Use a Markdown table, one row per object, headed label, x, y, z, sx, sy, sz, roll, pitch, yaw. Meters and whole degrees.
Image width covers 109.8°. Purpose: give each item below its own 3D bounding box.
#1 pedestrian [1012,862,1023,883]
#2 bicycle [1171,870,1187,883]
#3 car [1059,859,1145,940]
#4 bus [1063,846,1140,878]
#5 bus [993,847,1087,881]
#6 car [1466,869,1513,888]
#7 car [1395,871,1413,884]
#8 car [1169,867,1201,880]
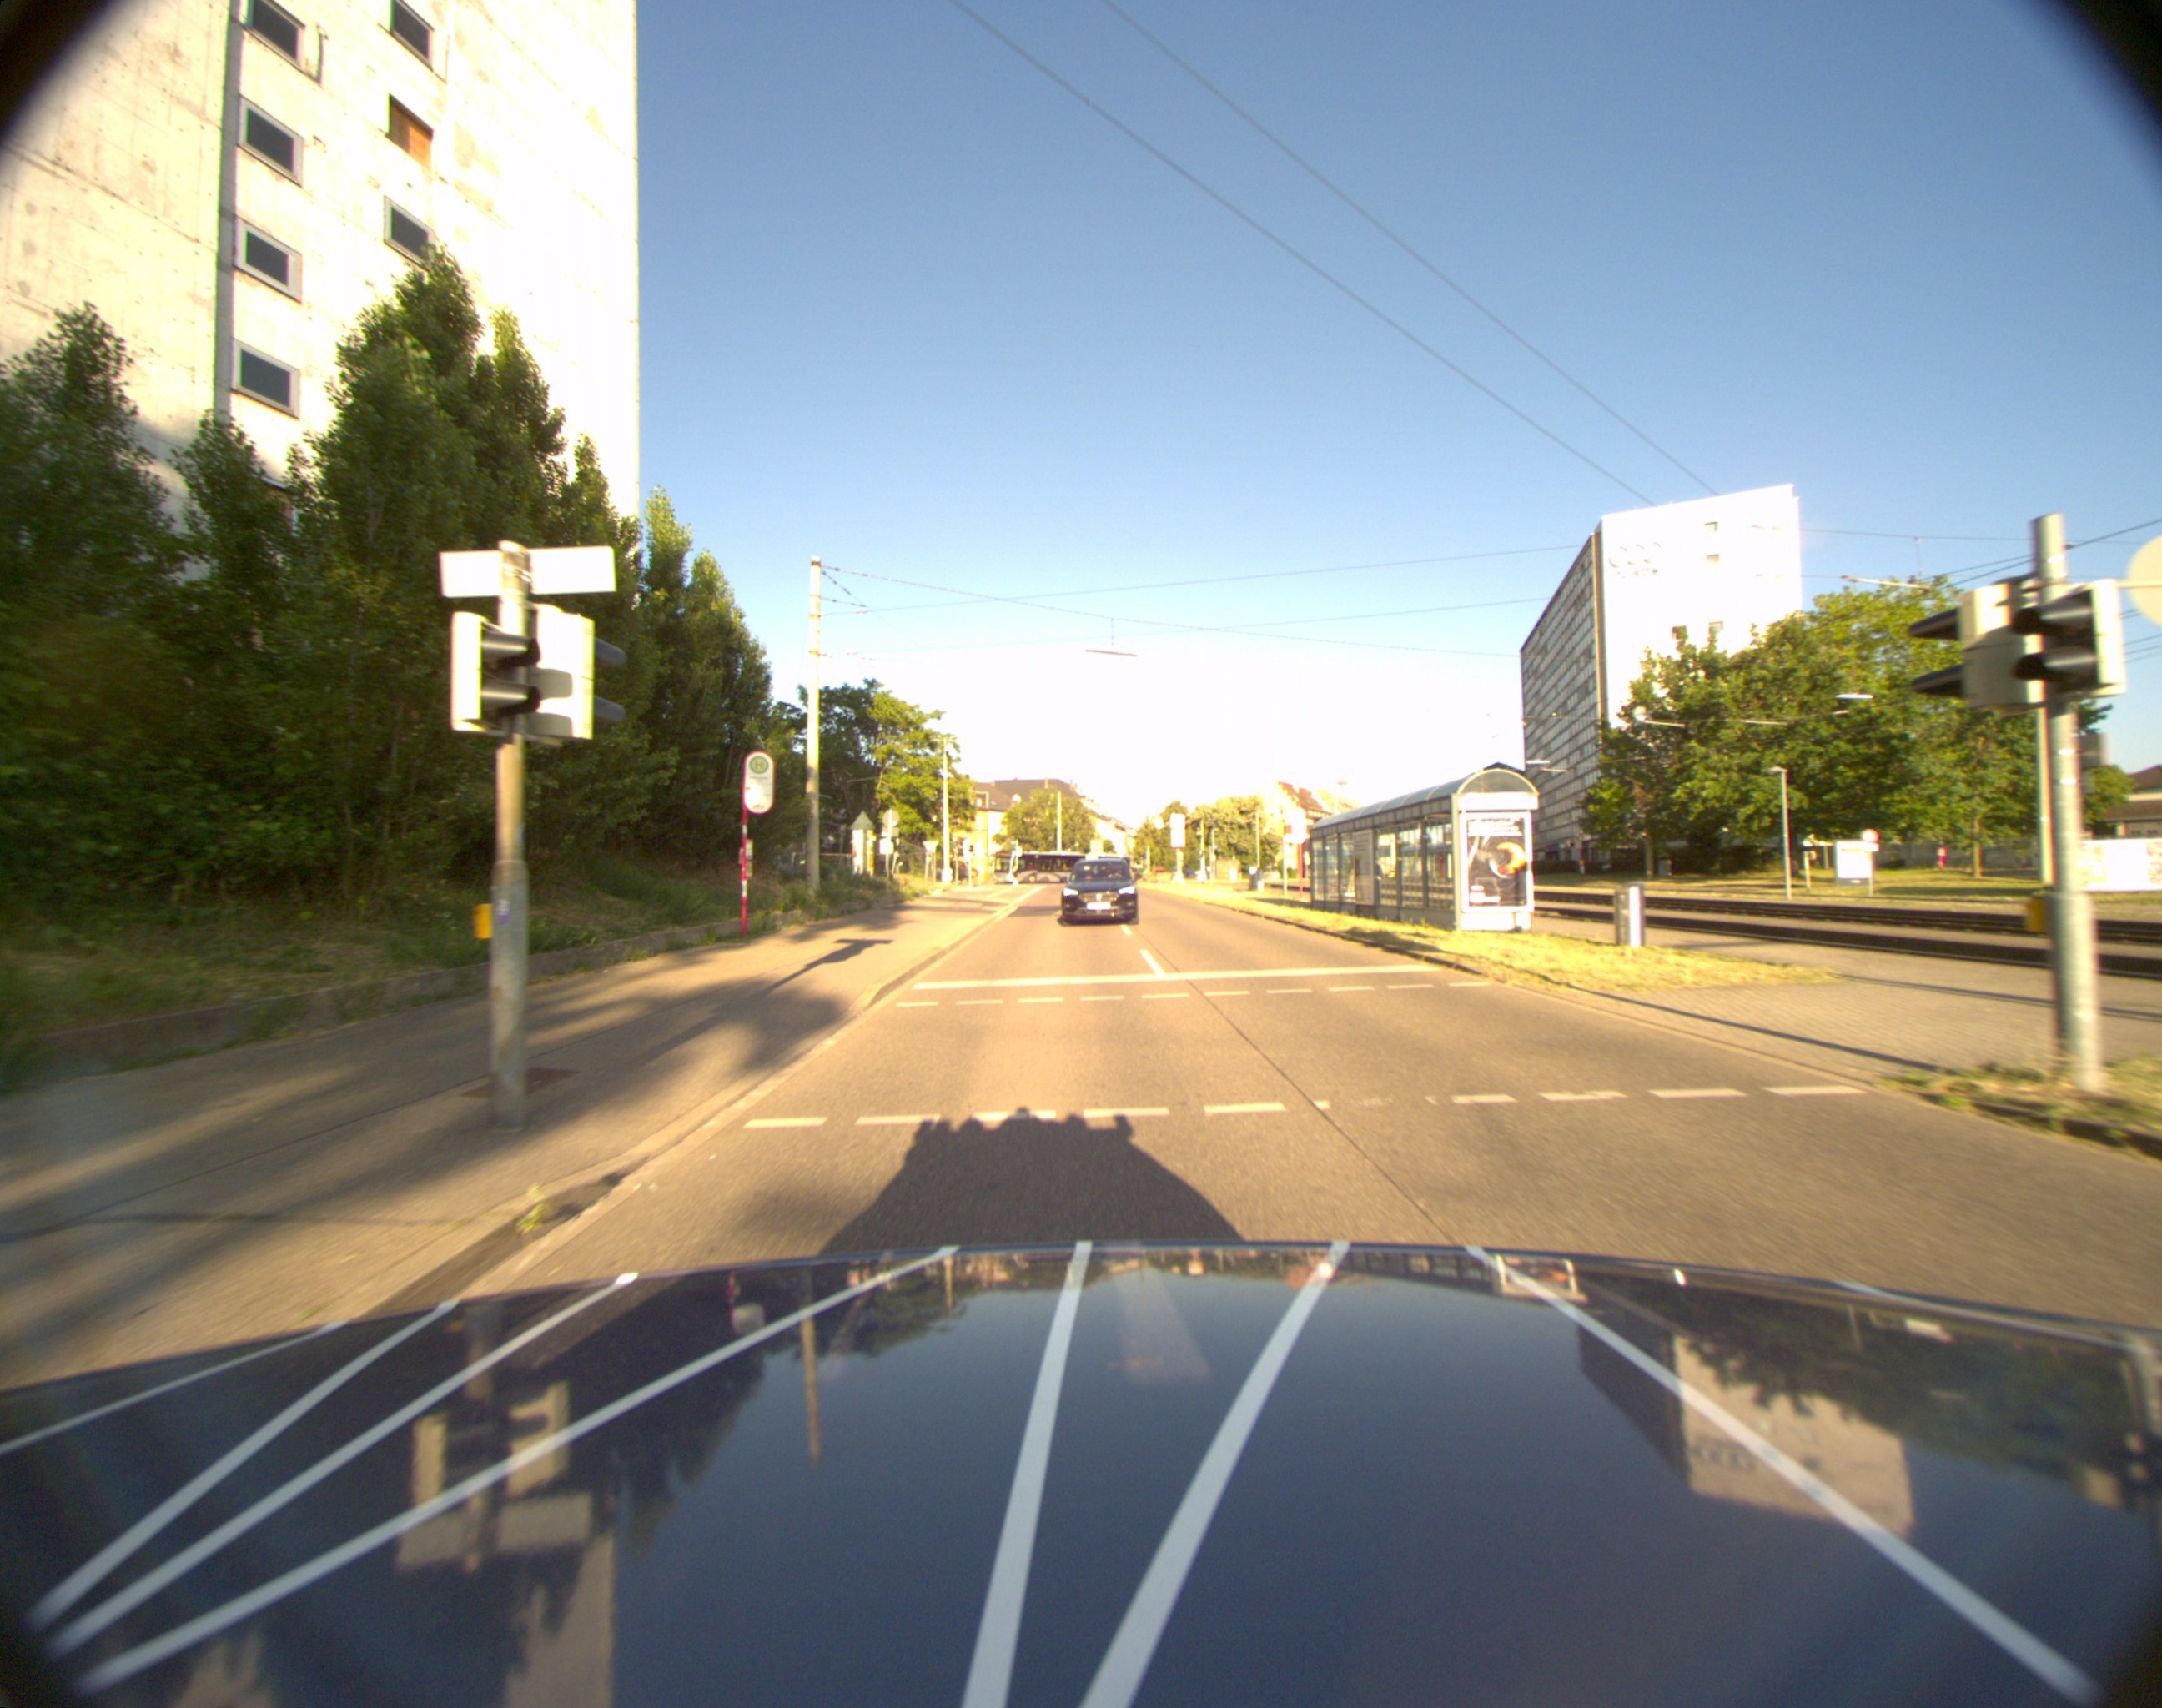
| label | x | y | z | sx | sy | sz | roll | pitch | yaw |
| --- | --- | --- | --- | --- | --- | --- | --- | --- | --- |
| pedestrian | -4.876 | 1.393 | 58.412 | 0.592 | 1.586 | 0.548 | -1 | 0 | 36 |
| bicycle | 7.456 | 1.718 | 57.878 | 0.606 | 0.987 | 1.750 | -1 | -1 | 30 |
| car | 0.485 | 0.994 | 18.536 | 1.818 | 1.670 | 4.624 | -1 | 0 | 1 |
| bus | 2.193 | 0.799 | 77.043 | 2.606 | 3.007 | 8.878 | -1 | -1 | 42 |
| bus | -3.648 | 0.902 | 70.841 | 2.606 | 3.007 | 9.599 | -1 | -1 | 42 |
| car | 34.349 | 2.057 | 64.024 | 1.740 | 1.539 | 4.438 | -1 | -2 | 3 |
| car | 39.258 | 2.845 | 92.433 | 1.738 | 1.465 | 4.136 | -1 | -2 | 21 |
| car | 12.565 | 2.371 | 91.767 | 3.987 | 1.465 | 1.737 | 1 | -2 | -43 |
